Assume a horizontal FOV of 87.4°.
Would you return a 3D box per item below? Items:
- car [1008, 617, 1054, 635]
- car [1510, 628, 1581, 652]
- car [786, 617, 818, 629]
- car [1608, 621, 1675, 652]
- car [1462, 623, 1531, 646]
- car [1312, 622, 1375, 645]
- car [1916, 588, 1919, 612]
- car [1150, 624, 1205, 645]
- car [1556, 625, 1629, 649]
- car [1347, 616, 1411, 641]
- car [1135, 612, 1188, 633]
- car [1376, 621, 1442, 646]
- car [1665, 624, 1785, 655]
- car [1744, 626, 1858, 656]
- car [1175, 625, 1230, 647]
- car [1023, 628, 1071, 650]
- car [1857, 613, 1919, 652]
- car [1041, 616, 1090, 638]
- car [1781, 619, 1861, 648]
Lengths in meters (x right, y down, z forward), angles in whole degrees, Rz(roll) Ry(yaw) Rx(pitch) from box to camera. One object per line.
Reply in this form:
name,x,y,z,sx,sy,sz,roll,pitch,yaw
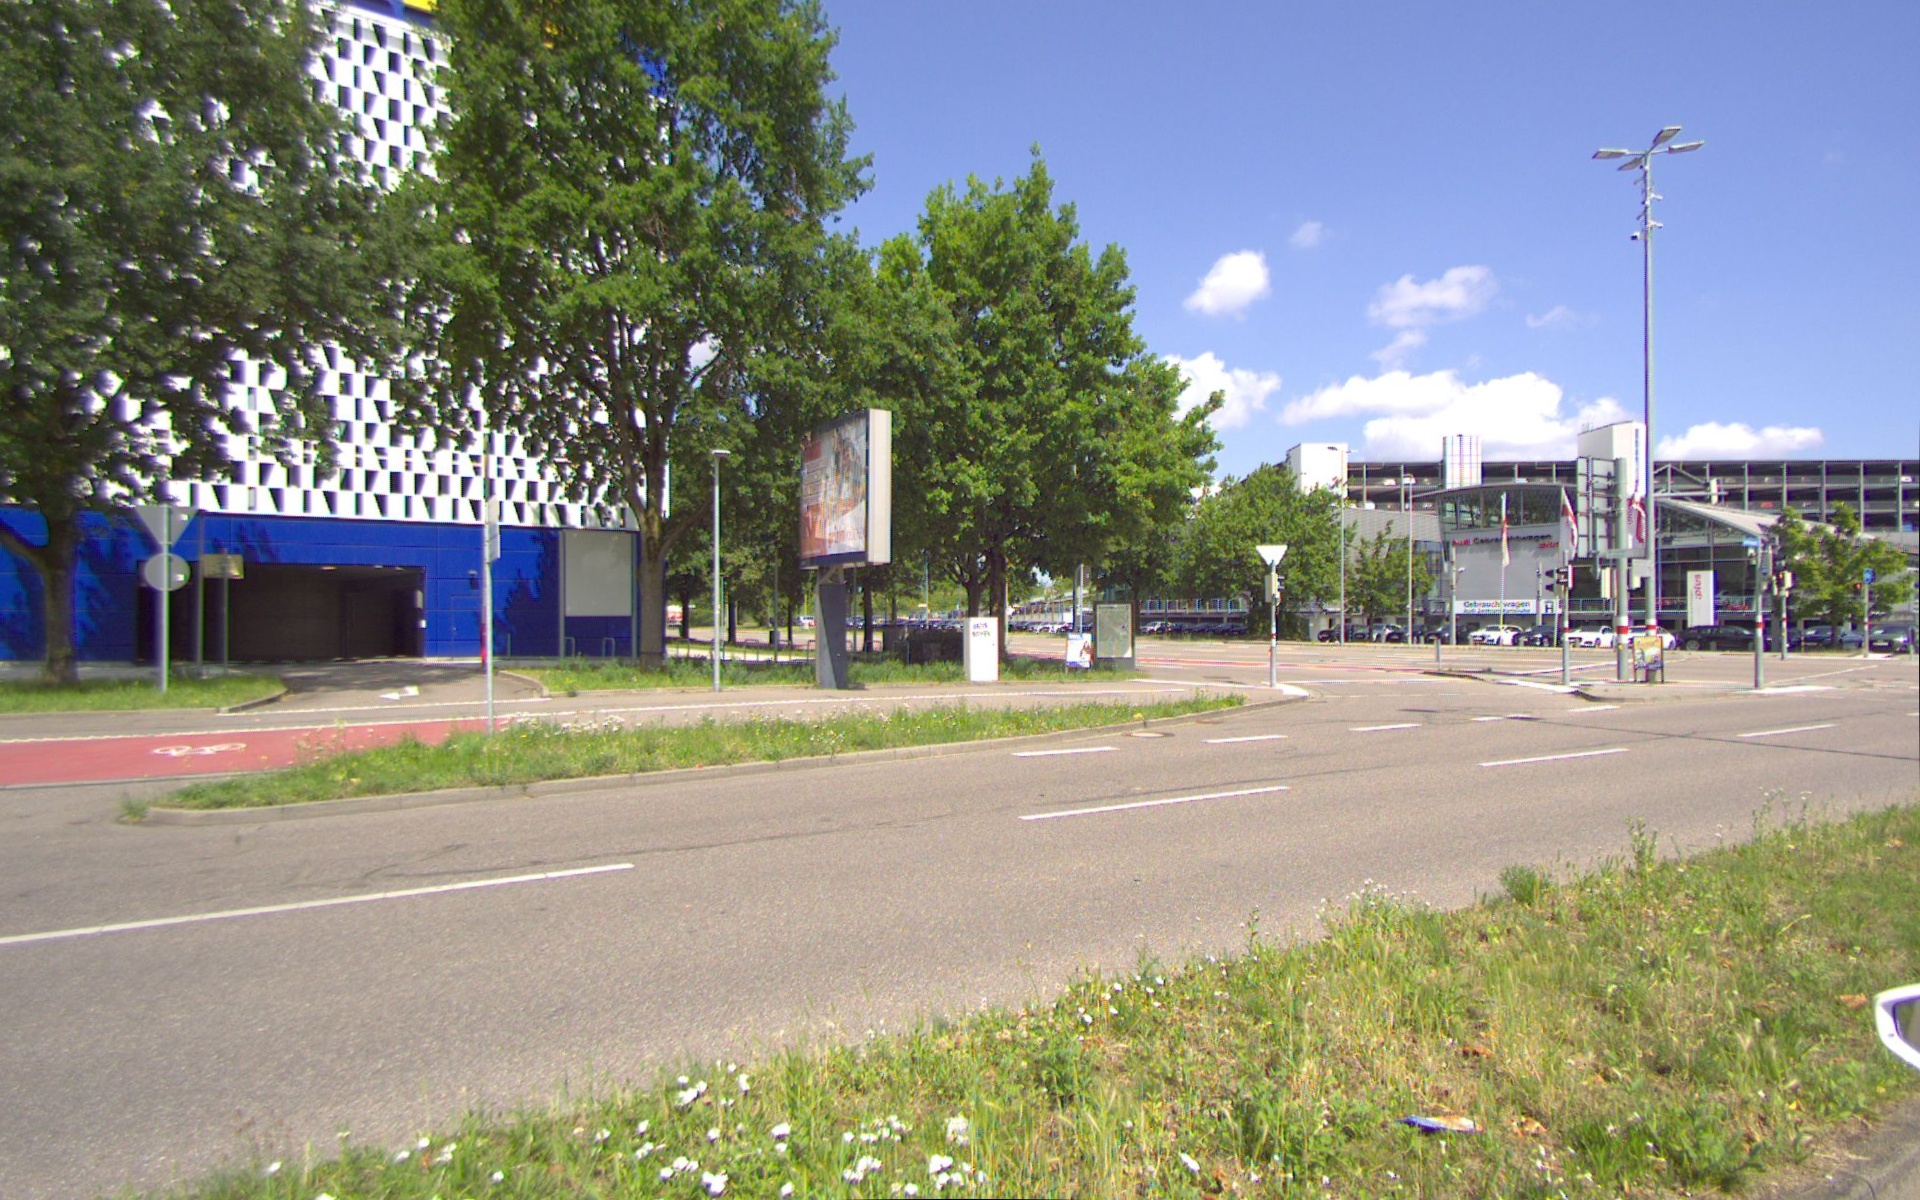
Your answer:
car,7.228,2.606,102.121,4.543,1.700,1.889,2,0,-35
car,34.825,2.363,59.723,4.543,1.315,1.889,2,0,-35
car,-23.122,3.377,147.057,4.327,1.533,1.916,2,0,-36
car,37.725,2.032,55.564,3.961,1.483,1.779,5,-3,-35
car,33.192,2.128,62.150,4.543,1.315,1.889,2,0,-35
car,27.255,2.375,71.302,4.544,1.423,1.889,3,-1,-35
car,76.191,0.055,76.686,1.747,1.825,4.412,2,0,-35
car,18.454,2.909,85.108,4.543,1.700,1.889,2,0,-35
car,36.318,2.126,57.641,4.543,1.315,1.889,2,0,-35
car,28.783,1.969,68.957,4.545,1.423,1.889,5,-2,-35
car,17.481,1.960,86.981,4.543,1.700,1.889,2,0,-35
car,29.711,2.217,66.389,4.544,1.402,1.889,4,-1,-35
car,40.073,2.051,52.735,1.778,1.483,4.710,5,-3,-34
car,48.138,2.319,57.597,1.965,1.530,4.710,5,-3,-34
car,20.070,3.006,83.204,4.543,1.700,1.889,2,0,-35
car,8.735,3.924,100.533,4.543,2.076,1.889,2,0,-35
car,43.687,1.501,46.737,4.543,1.700,1.889,2,0,-35
car,10.285,2.623,97.942,4.543,2.076,1.889,2,0,-35
car,42.156,1.666,49.164,4.543,1.315,1.889,2,0,-35
